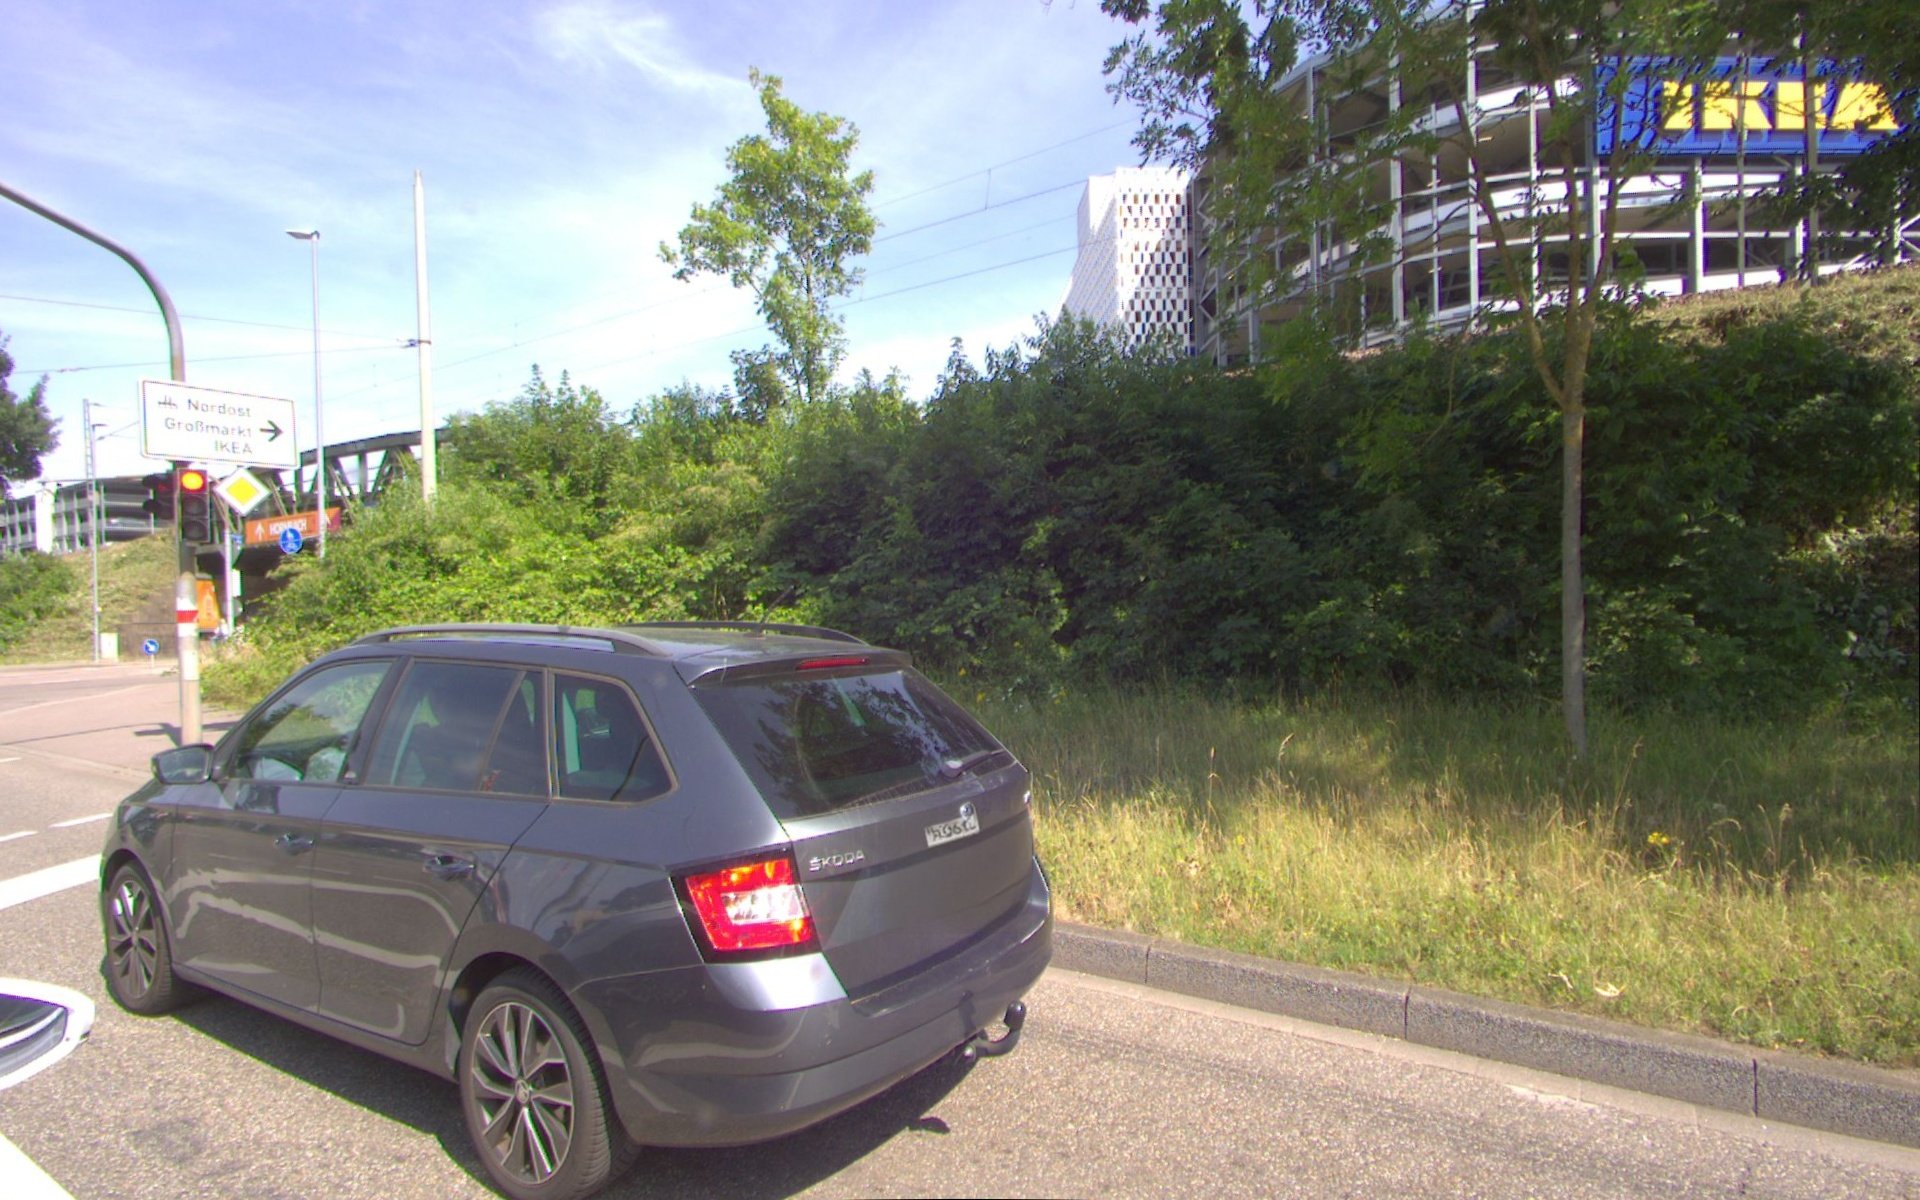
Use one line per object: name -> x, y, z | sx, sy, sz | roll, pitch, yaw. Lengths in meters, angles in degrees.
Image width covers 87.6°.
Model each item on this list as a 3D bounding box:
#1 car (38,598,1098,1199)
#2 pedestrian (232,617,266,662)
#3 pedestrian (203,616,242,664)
car -> -1.647, 0.786, 3.751 | 3.978, 1.472, 1.671 | -1, -2, 32
pedestrian -> -25.403, 1.406, 35.765 | 0.766, 1.600, 0.728 | -1, 0, 32
pedestrian -> -25.739, 1.372, 34.936 | 0.766, 1.633, 0.866 | -1, 0, 32
